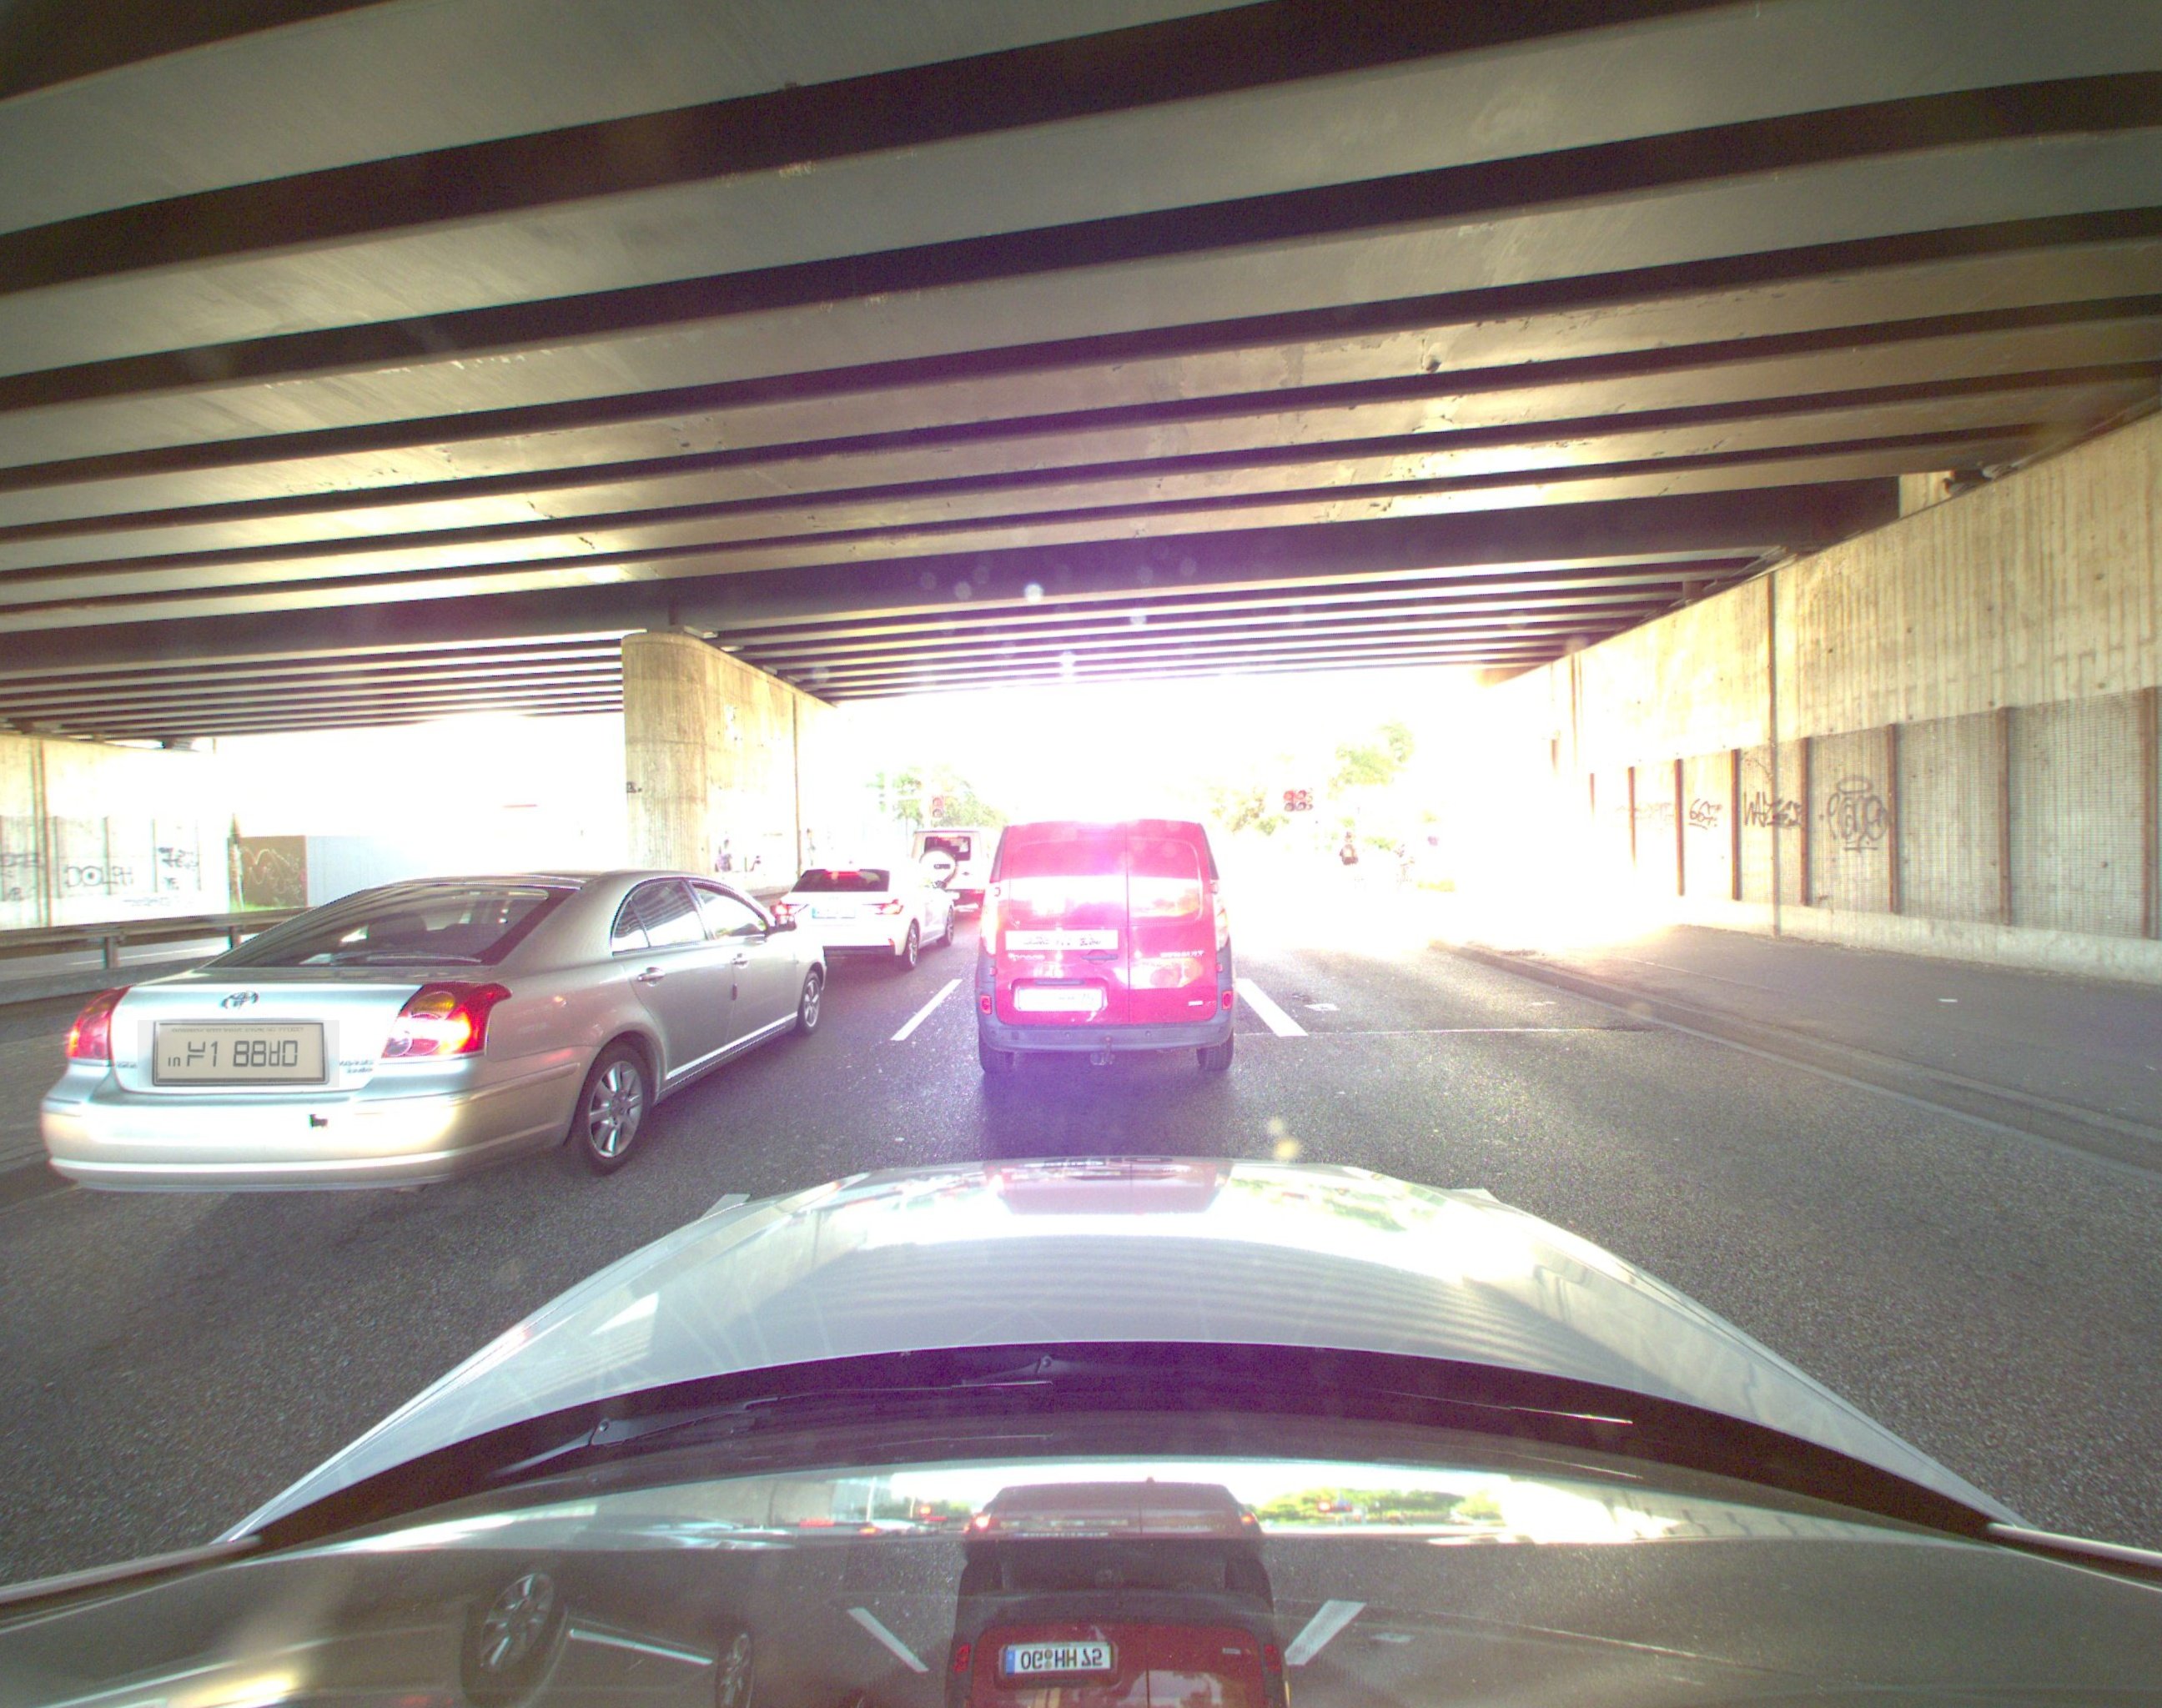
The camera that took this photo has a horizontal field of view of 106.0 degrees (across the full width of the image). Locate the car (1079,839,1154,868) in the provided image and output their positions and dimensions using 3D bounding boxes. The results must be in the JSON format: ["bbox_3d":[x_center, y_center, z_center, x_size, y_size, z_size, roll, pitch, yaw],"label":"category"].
[{"bbox_3d":[1.888,-0.037,44.100,3.749,1.448,1.688,-1,0,-13],"label":"car"}]

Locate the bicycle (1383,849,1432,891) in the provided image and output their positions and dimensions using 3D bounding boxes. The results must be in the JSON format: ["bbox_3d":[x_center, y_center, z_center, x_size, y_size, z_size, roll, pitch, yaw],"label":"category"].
[{"bbox_3d":[8.245,0.401,20.620,0.589,1.023,1.751,0,-1,2],"label":"bicycle"}]

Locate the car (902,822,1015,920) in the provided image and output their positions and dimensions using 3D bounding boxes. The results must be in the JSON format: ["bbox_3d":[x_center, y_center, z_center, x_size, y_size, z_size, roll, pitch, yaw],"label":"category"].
[{"bbox_3d":[-2.708,0.365,19.048,1.794,1.989,4.591,0,-1,2],"label":"car"}]

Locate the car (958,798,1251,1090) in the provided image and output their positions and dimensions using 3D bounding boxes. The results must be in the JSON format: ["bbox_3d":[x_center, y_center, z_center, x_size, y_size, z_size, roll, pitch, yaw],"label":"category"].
[{"bbox_3d":[0.207,0.571,7.043,1.798,1.794,4.001,0,-1,2],"label":"car"}]

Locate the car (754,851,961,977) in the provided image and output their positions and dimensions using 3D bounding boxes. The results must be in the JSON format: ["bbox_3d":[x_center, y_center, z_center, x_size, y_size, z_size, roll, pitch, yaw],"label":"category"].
[{"bbox_3d":[-2.947,0.717,11.604,1.807,1.438,3.732,-1,1,1],"label":"car"}]

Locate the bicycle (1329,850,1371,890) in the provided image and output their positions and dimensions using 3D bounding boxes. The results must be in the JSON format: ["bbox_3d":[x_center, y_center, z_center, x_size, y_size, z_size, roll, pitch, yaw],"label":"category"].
[{"bbox_3d":[7.159,0.418,21.727,0.589,1.023,1.751,0,-1,2],"label":"bicycle"}]

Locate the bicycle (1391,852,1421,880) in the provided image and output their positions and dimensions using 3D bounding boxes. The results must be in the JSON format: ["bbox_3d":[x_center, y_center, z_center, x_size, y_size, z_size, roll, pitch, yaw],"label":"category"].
[{"bbox_3d":[12.292,0.437,30.853,0.667,1.023,2.062,-1,-1,12],"label":"bicycle"}]

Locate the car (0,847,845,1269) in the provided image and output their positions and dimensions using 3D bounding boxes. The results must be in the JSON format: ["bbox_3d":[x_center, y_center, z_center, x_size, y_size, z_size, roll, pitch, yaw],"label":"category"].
[{"bbox_3d":[-3.004,0.733,5.098,1.727,1.480,4.319,-1,0,0],"label":"car"}]

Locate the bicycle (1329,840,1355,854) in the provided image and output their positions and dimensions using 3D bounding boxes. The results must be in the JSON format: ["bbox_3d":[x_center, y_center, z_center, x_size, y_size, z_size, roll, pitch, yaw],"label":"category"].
[{"bbox_3d":[19.423,-0.541,60.632,1.734,1.023,0.595,-1,-1,10],"label":"bicycle"}]

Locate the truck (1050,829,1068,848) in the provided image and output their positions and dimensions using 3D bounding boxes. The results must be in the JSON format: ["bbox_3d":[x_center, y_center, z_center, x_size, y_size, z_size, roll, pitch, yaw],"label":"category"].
[{"bbox_3d":[-3.703,-2.567,138.117,2.399,3.026,6.661,-4,0,3],"label":"truck"}]

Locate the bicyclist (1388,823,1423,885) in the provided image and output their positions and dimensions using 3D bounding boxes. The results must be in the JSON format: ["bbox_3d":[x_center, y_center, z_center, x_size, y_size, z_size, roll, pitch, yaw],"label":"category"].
[{"bbox_3d":[8.214,-0.004,20.634,0.589,1.548,0.769,0,-1,1],"label":"bicyclist"}]

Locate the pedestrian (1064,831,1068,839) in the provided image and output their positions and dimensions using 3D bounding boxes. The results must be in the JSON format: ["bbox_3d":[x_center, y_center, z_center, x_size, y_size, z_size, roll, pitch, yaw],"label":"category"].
[{"bbox_3d":[-3.844,-4.990,208.703,0.736,2.014,0.638,0,-1,5],"label":"pedestrian"}]

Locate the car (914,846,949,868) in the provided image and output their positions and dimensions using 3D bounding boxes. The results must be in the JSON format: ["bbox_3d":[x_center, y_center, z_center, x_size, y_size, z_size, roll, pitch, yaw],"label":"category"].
[{"bbox_3d":[-13.197,0.246,72.126,1.817,1.737,4.634,-4,0,4],"label":"car"}]

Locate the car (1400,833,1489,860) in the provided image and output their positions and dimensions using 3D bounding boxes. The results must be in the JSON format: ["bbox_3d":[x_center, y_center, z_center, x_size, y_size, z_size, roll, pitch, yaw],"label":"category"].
[{"bbox_3d":[21.433,-0.419,48.195,4.521,1.514,1.832,-1,-1,8],"label":"car"}]

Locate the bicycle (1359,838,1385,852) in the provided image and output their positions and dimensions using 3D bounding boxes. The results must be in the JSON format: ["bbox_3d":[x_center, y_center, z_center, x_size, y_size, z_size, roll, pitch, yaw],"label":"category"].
[{"bbox_3d":[21.290,-0.642,59.604,1.733,1.023,0.596,-1,-1,13],"label":"bicycle"}]

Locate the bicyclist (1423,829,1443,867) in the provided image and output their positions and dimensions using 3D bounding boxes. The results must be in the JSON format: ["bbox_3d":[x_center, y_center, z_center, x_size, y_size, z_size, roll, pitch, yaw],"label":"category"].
[{"bbox_3d":[13.880,-0.235,32.097,0.644,1.480,0.621,-1,1,18],"label":"bicyclist"}]

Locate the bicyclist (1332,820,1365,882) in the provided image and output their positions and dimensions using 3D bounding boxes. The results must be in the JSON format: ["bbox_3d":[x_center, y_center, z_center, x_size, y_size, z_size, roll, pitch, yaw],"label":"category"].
[{"bbox_3d":[7.141,-0.082,21.767,0.589,1.613,0.943,0,-1,2],"label":"bicyclist"}]

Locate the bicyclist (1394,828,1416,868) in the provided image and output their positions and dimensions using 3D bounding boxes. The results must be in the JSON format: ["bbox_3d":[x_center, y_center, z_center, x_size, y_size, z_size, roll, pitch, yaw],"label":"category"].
[{"bbox_3d":[12.293,-0.213,30.895,0.660,1.474,0.753,-1,-1,12],"label":"bicyclist"}]

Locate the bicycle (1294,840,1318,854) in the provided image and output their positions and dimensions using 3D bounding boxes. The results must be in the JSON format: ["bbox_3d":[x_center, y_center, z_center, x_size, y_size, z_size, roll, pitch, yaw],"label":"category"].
[{"bbox_3d":[17.187,-0.512,62.149,1.734,1.023,0.595,-1,-1,10],"label":"bicycle"}]
